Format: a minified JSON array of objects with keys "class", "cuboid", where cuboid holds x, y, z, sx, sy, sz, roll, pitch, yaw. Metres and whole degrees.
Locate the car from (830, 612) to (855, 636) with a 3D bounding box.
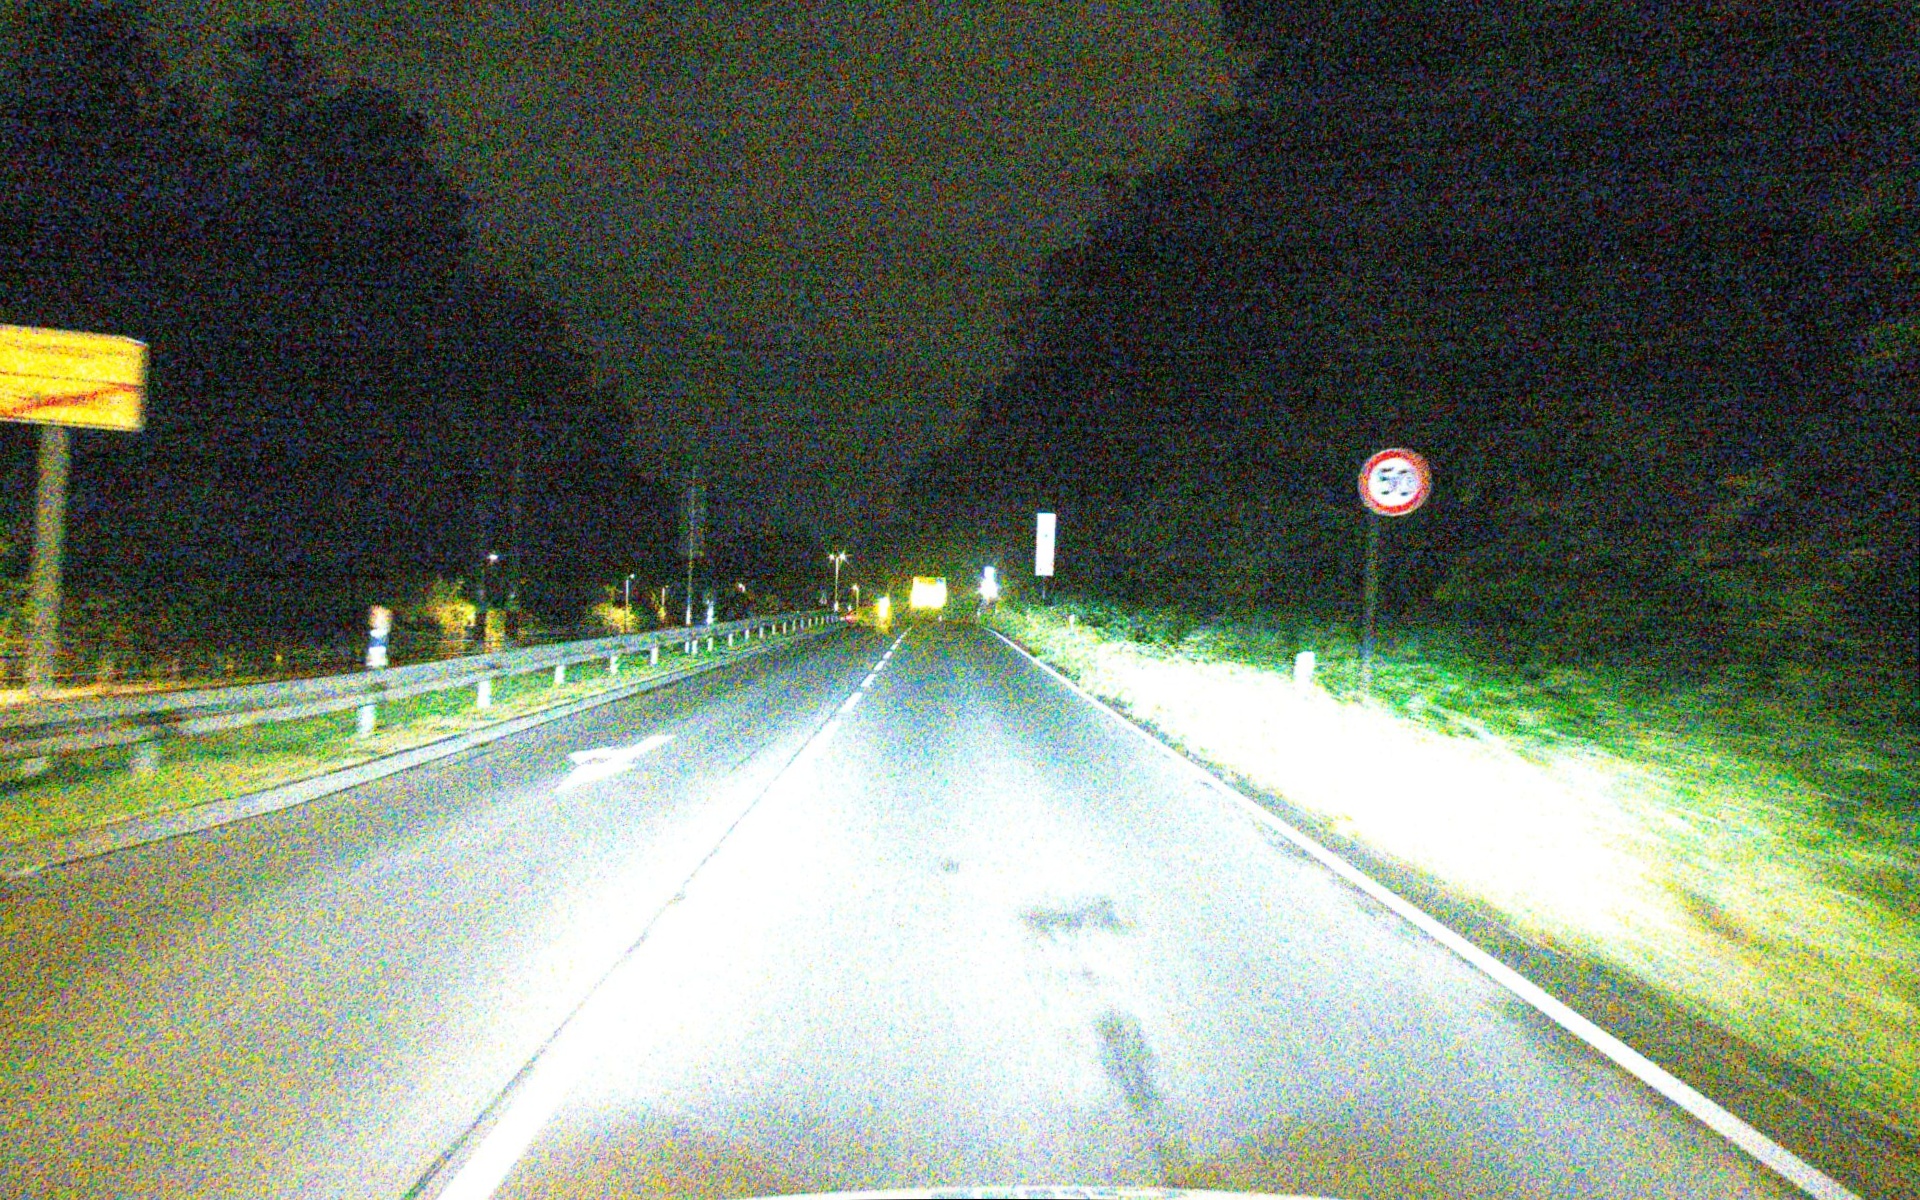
[{"class":"car","cuboid":[-11.128,2.242,156.366,1.956,2.049,3.992,3,-3,-8]}]
